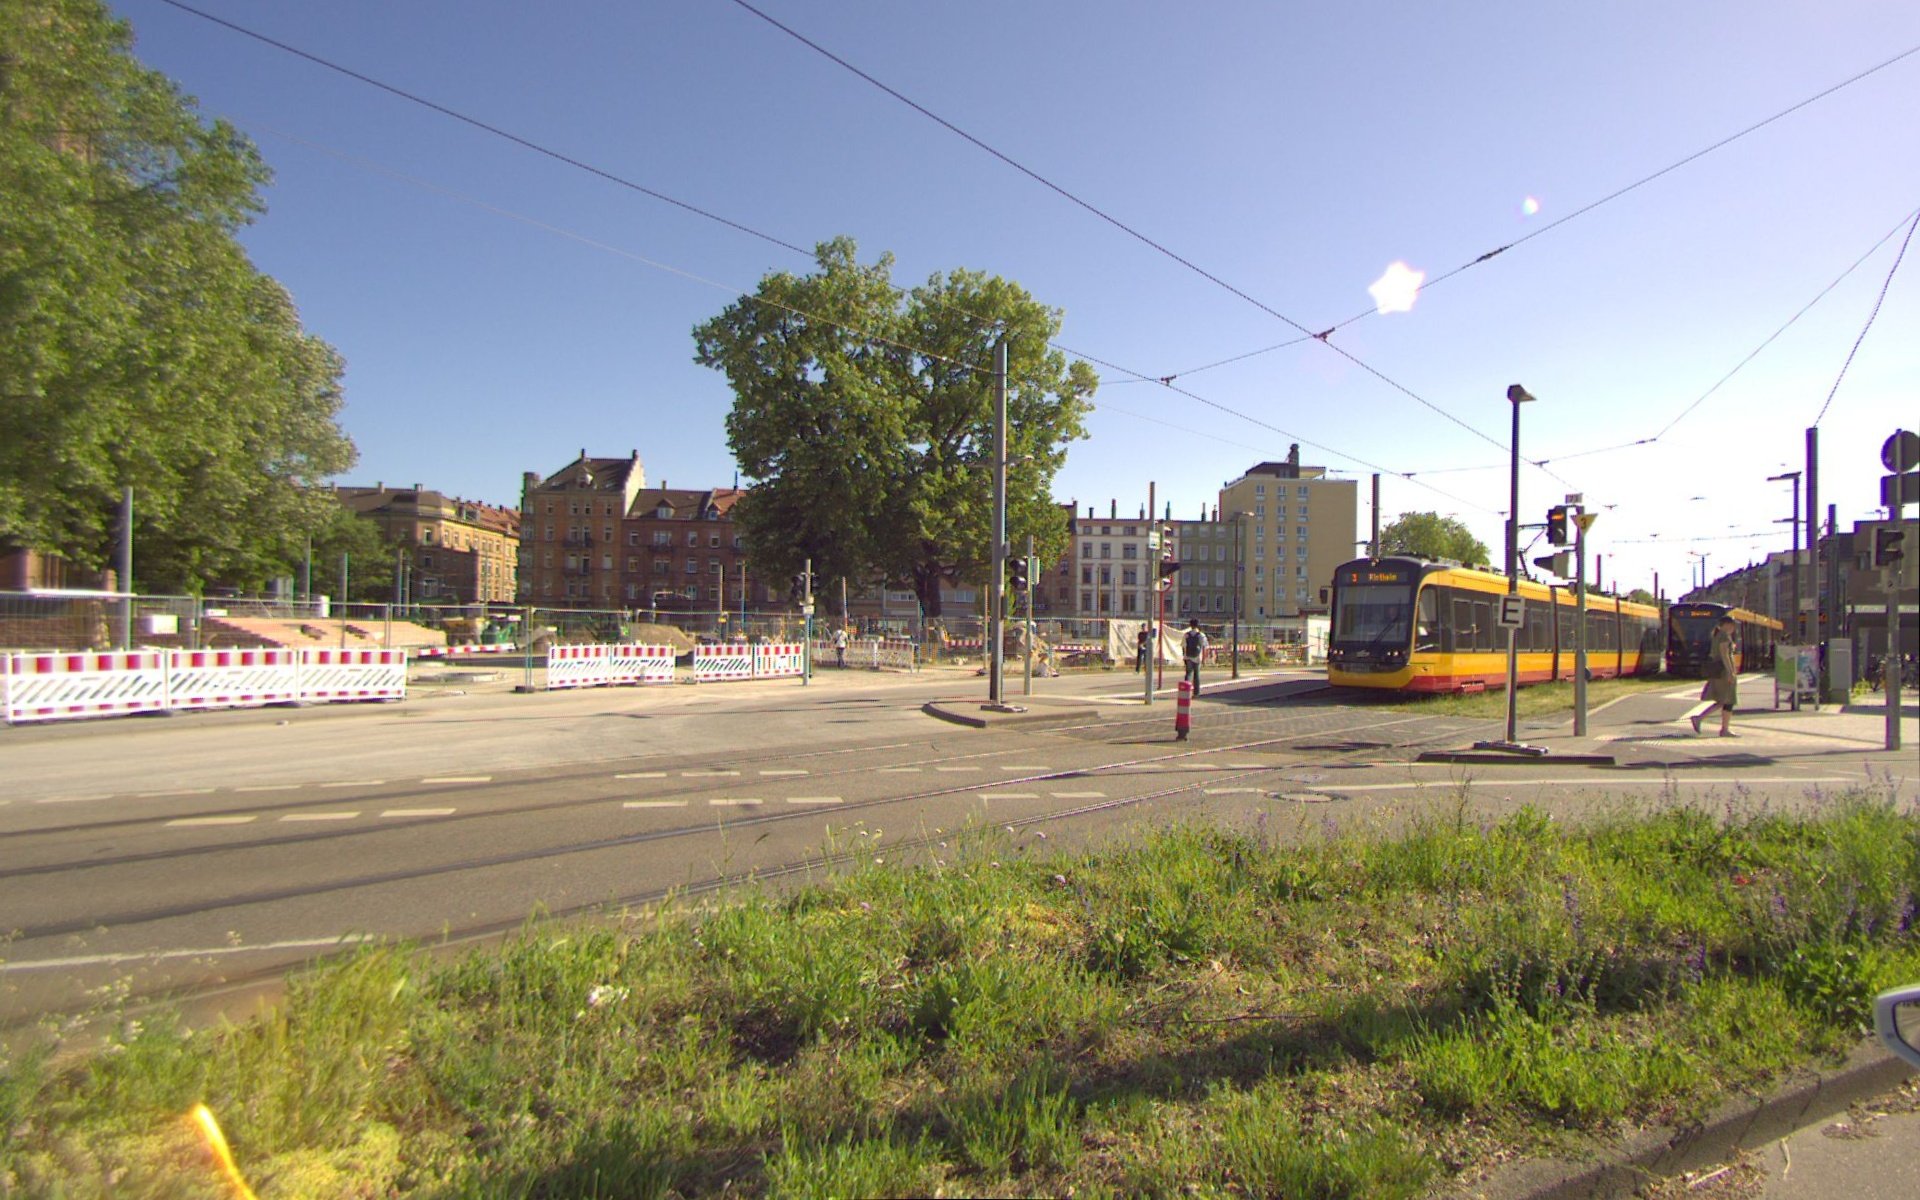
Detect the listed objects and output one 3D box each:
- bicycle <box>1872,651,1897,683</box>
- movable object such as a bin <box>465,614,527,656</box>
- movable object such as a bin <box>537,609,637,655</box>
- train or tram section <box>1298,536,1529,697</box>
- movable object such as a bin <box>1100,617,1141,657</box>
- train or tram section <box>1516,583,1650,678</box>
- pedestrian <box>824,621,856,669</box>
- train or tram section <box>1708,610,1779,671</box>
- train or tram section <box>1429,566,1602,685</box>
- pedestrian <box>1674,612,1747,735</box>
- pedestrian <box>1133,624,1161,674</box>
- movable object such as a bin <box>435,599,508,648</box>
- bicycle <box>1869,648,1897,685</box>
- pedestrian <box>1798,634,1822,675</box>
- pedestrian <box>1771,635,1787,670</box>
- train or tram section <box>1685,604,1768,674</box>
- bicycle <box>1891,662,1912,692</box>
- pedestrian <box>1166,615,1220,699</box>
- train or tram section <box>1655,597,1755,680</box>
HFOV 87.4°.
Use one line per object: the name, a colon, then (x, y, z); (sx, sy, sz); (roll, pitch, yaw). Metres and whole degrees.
bicycle: (34.164, 2.478, 37.118); (2.016, 1.108, 0.560); (4, -2, -45)
movable object such as a bin: (-27.971, 2.077, 60.685); (1.858, 2.377, 4.228); (3, -1, -3)
movable object such as a bin: (-25.401, 2.196, 68.535); (5.972, 2.795, 1.892); (3, -1, -7)
train or tram section: (12.594, 0.563, 27.120); (2.785, 3.554, 10.426); (-1, -2, 41)
movable object such as a bin: (11.904, 2.716, 74.708); (1.800, 2.832, 3.994); (3, -1, -9)
train or tram section: (26.712, 1.327, 42.741); (2.786, 3.554, 11.148); (1, -1, 43)
pedestrian: (-4.565, 1.705, 38.268); (0.856, 1.791, 0.964); (2, -2, -34)
train or tram section: (49.536, 2.538, 63.376); (2.839, 3.554, 10.487); (0, -2, 42)
train or tram section: (19.524, 0.935, 34.841); (2.786, 3.554, 10.552); (1, -1, 43)
pedestrian: (11.846, 1.128, 15.882); (0.887, 1.875, 0.761); (0, 0, 35)
pedestrian: (6.798, 1.788, 36.524); (0.660, 1.791, 0.796); (-1, -2, 41)
movable object such as a bin: (-34.704, 1.657, 71.567); (3.063, 3.214, 5.240); (3, -1, -9)
bicycle: (29.787, 2.148, 32.404); (2.016, 1.108, 0.560); (4, -2, -45)
pedestrian: (40.761, 2.590, 48.165); (0.837, 1.908, 0.757); (2, -2, 41)
pedestrian: (44.422, 2.835, 54.502); (0.624, 1.881, 0.700); (2, -1, 37)
train or tram section: (42.492, 2.158, 55.527); (2.839, 3.554, 10.487); (0, -2, 42)
bicycle: (31.215, 2.541, 33.310); (0.417, 0.950, 1.299); (2, -1, 41)
pedestrian: (5.298, 1.295, 22.836); (0.750, 1.856, 1.014); (-4, -5, 43)
train or tram section: (35.514, 1.818, 47.685); (2.839, 3.554, 10.487); (0, -2, 42)
